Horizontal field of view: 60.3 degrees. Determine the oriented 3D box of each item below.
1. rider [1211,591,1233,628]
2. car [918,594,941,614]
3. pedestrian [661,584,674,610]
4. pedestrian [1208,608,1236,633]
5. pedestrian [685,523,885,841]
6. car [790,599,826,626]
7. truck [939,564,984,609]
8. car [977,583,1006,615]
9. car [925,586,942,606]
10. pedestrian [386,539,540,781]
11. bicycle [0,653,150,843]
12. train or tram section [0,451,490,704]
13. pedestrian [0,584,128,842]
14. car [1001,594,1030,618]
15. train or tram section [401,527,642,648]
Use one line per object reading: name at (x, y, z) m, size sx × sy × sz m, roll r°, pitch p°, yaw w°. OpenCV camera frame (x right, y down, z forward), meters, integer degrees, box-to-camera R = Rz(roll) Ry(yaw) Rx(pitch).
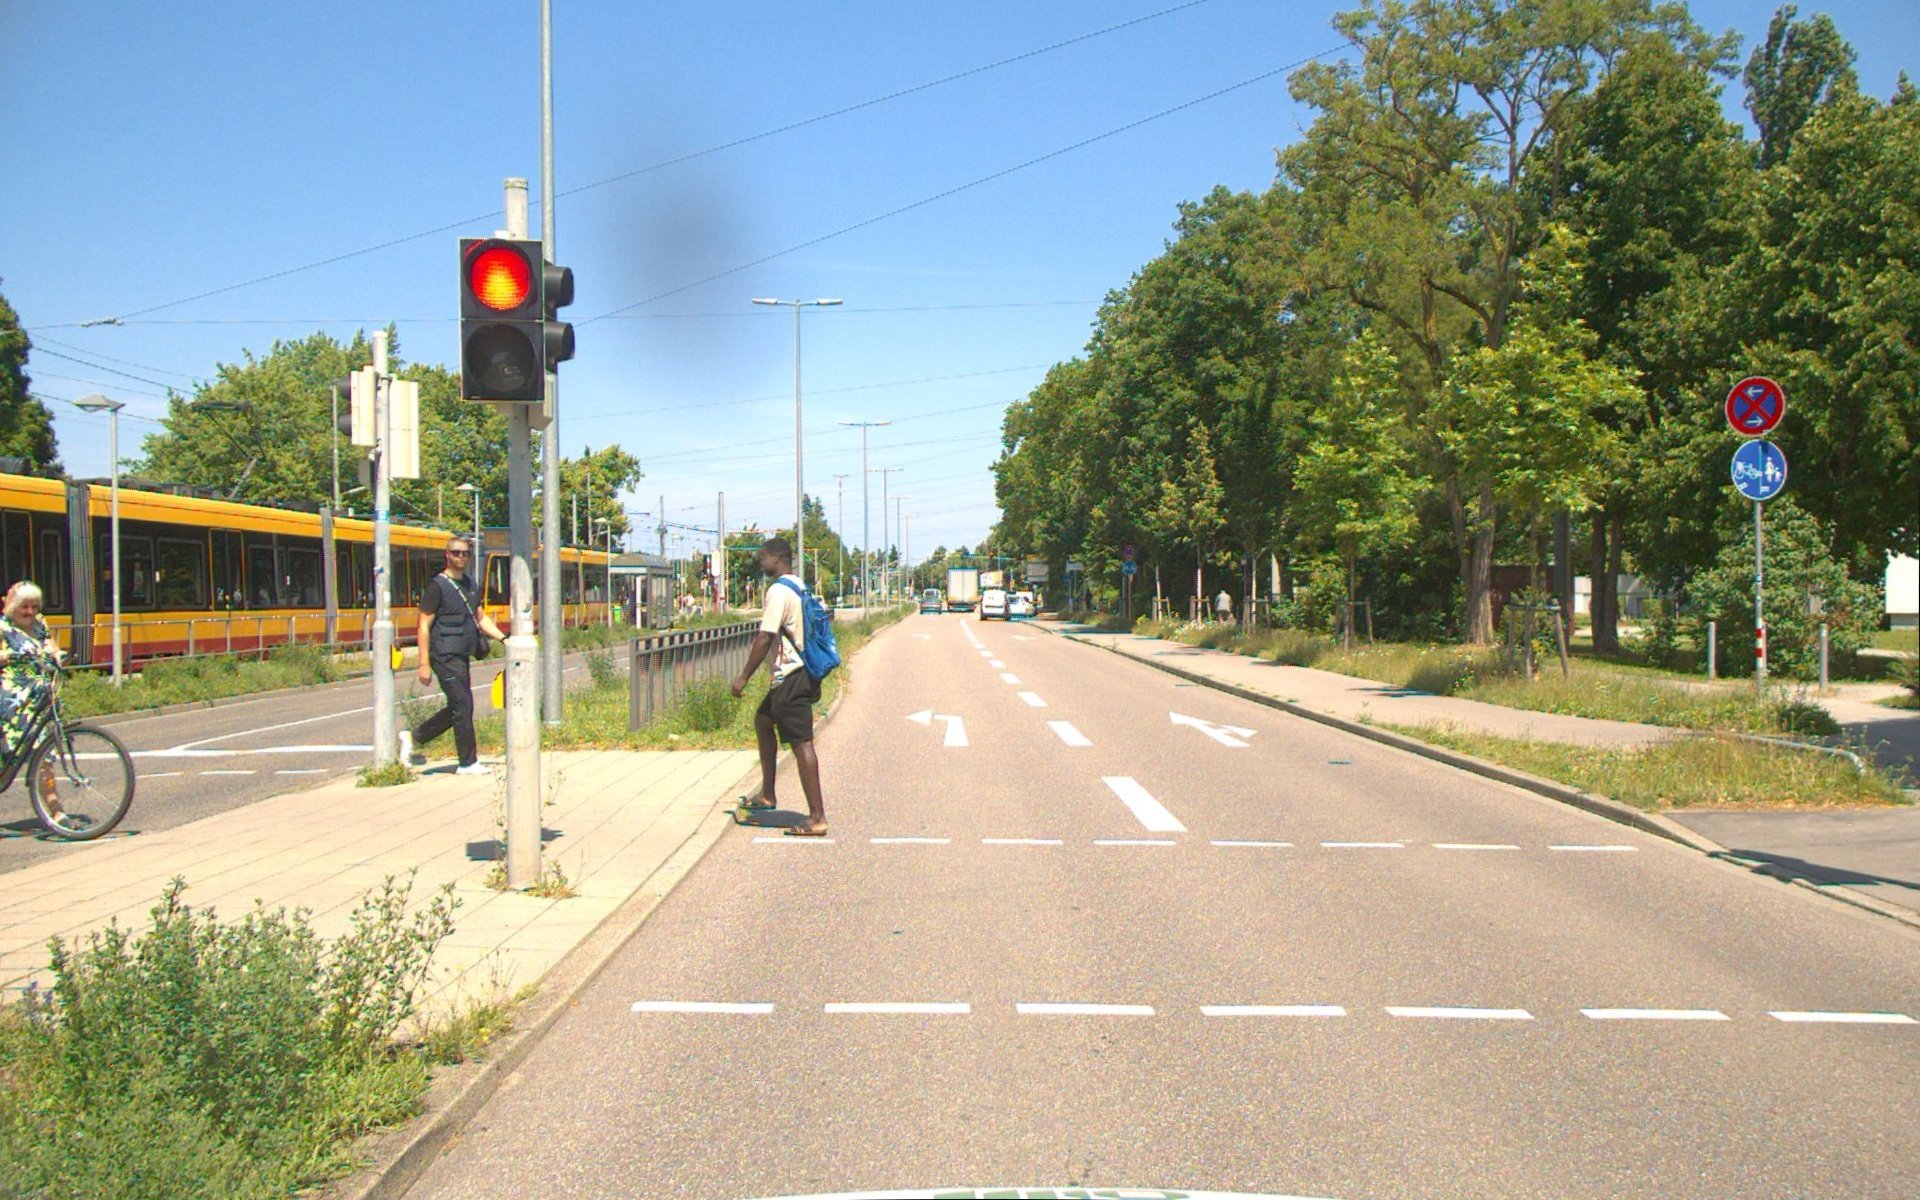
rider at (9.248, 0.324, 58.358) m, size 0.664 × 1.304 × 0.533 m, roll 0°, pitch 0°, yaw -1°
car at (-2.387, 0.286, 129.822) m, size 1.765 × 1.512 × 4.000 m, roll 0°, pitch 0°, yaw 0°
pedestrian at (-22.651, -0.267, 128.039) m, size 0.846 × 1.998 × 0.873 m, roll 0°, pitch 0°, yaw -1°
pedestrian at (9.243, 0.705, 58.390) m, size 0.664 × 0.862 × 1.773 m, roll 0°, pitch 0°, yaw -1°
pedestrian at (-1.069, 0.482, 10.266) m, size 1.024 × 1.882 × 0.758 m, roll 0°, pitch 0°, yaw 14°
car at (-9.644, 0.768, 105.244) m, size 1.953 × 1.679 × 3.999 m, roll 0°, pitch 0°, yaw -1°
truck at (0.051, -1.175, 148.123) m, size 3.820 × 3.879 × 10.790 m, roll 0°, pitch 0°, yaw -1°
car at (1.910, -0.050, 100.720) m, size 1.692 × 1.845 × 4.001 m, roll 2°, pitch 0°, yaw 1°
car at (-2.618, -0.395, 164.416) m, size 1.653 × 1.930 × 3.869 m, roll 0°, pitch 0°, yaw -1°
pedestrian at (-3.897, 0.451, 12.988) m, size 0.939 × 1.828 × 0.704 m, roll 0°, pitch 0°, yaw 28°
bicycle at (-6.093, 0.930, 10.518) m, size 1.824 × 1.177 × 0.243 m, roll 0°, pitch 0°, yaw 4°
train or tram section at (-15.635, -0.344, 32.241) m, size 2.731 × 3.732 × 37.511 m, roll 0°, pitch 0°, yaw -1°
pedestrian at (-6.127, 0.725, 11.011) m, size 0.802 × 1.657 × 0.706 m, roll 0°, pitch 0°, yaw 5°
car at (3.756, 0.362, 112.251) m, size 1.766 × 1.567 × 3.999 m, roll 1°, pitch 0°, yaw -1°
train or tram section at (-16.033, -0.408, 64.010) m, size 2.731 × 3.732 × 25.994 m, roll 0°, pitch 0°, yaw -1°
